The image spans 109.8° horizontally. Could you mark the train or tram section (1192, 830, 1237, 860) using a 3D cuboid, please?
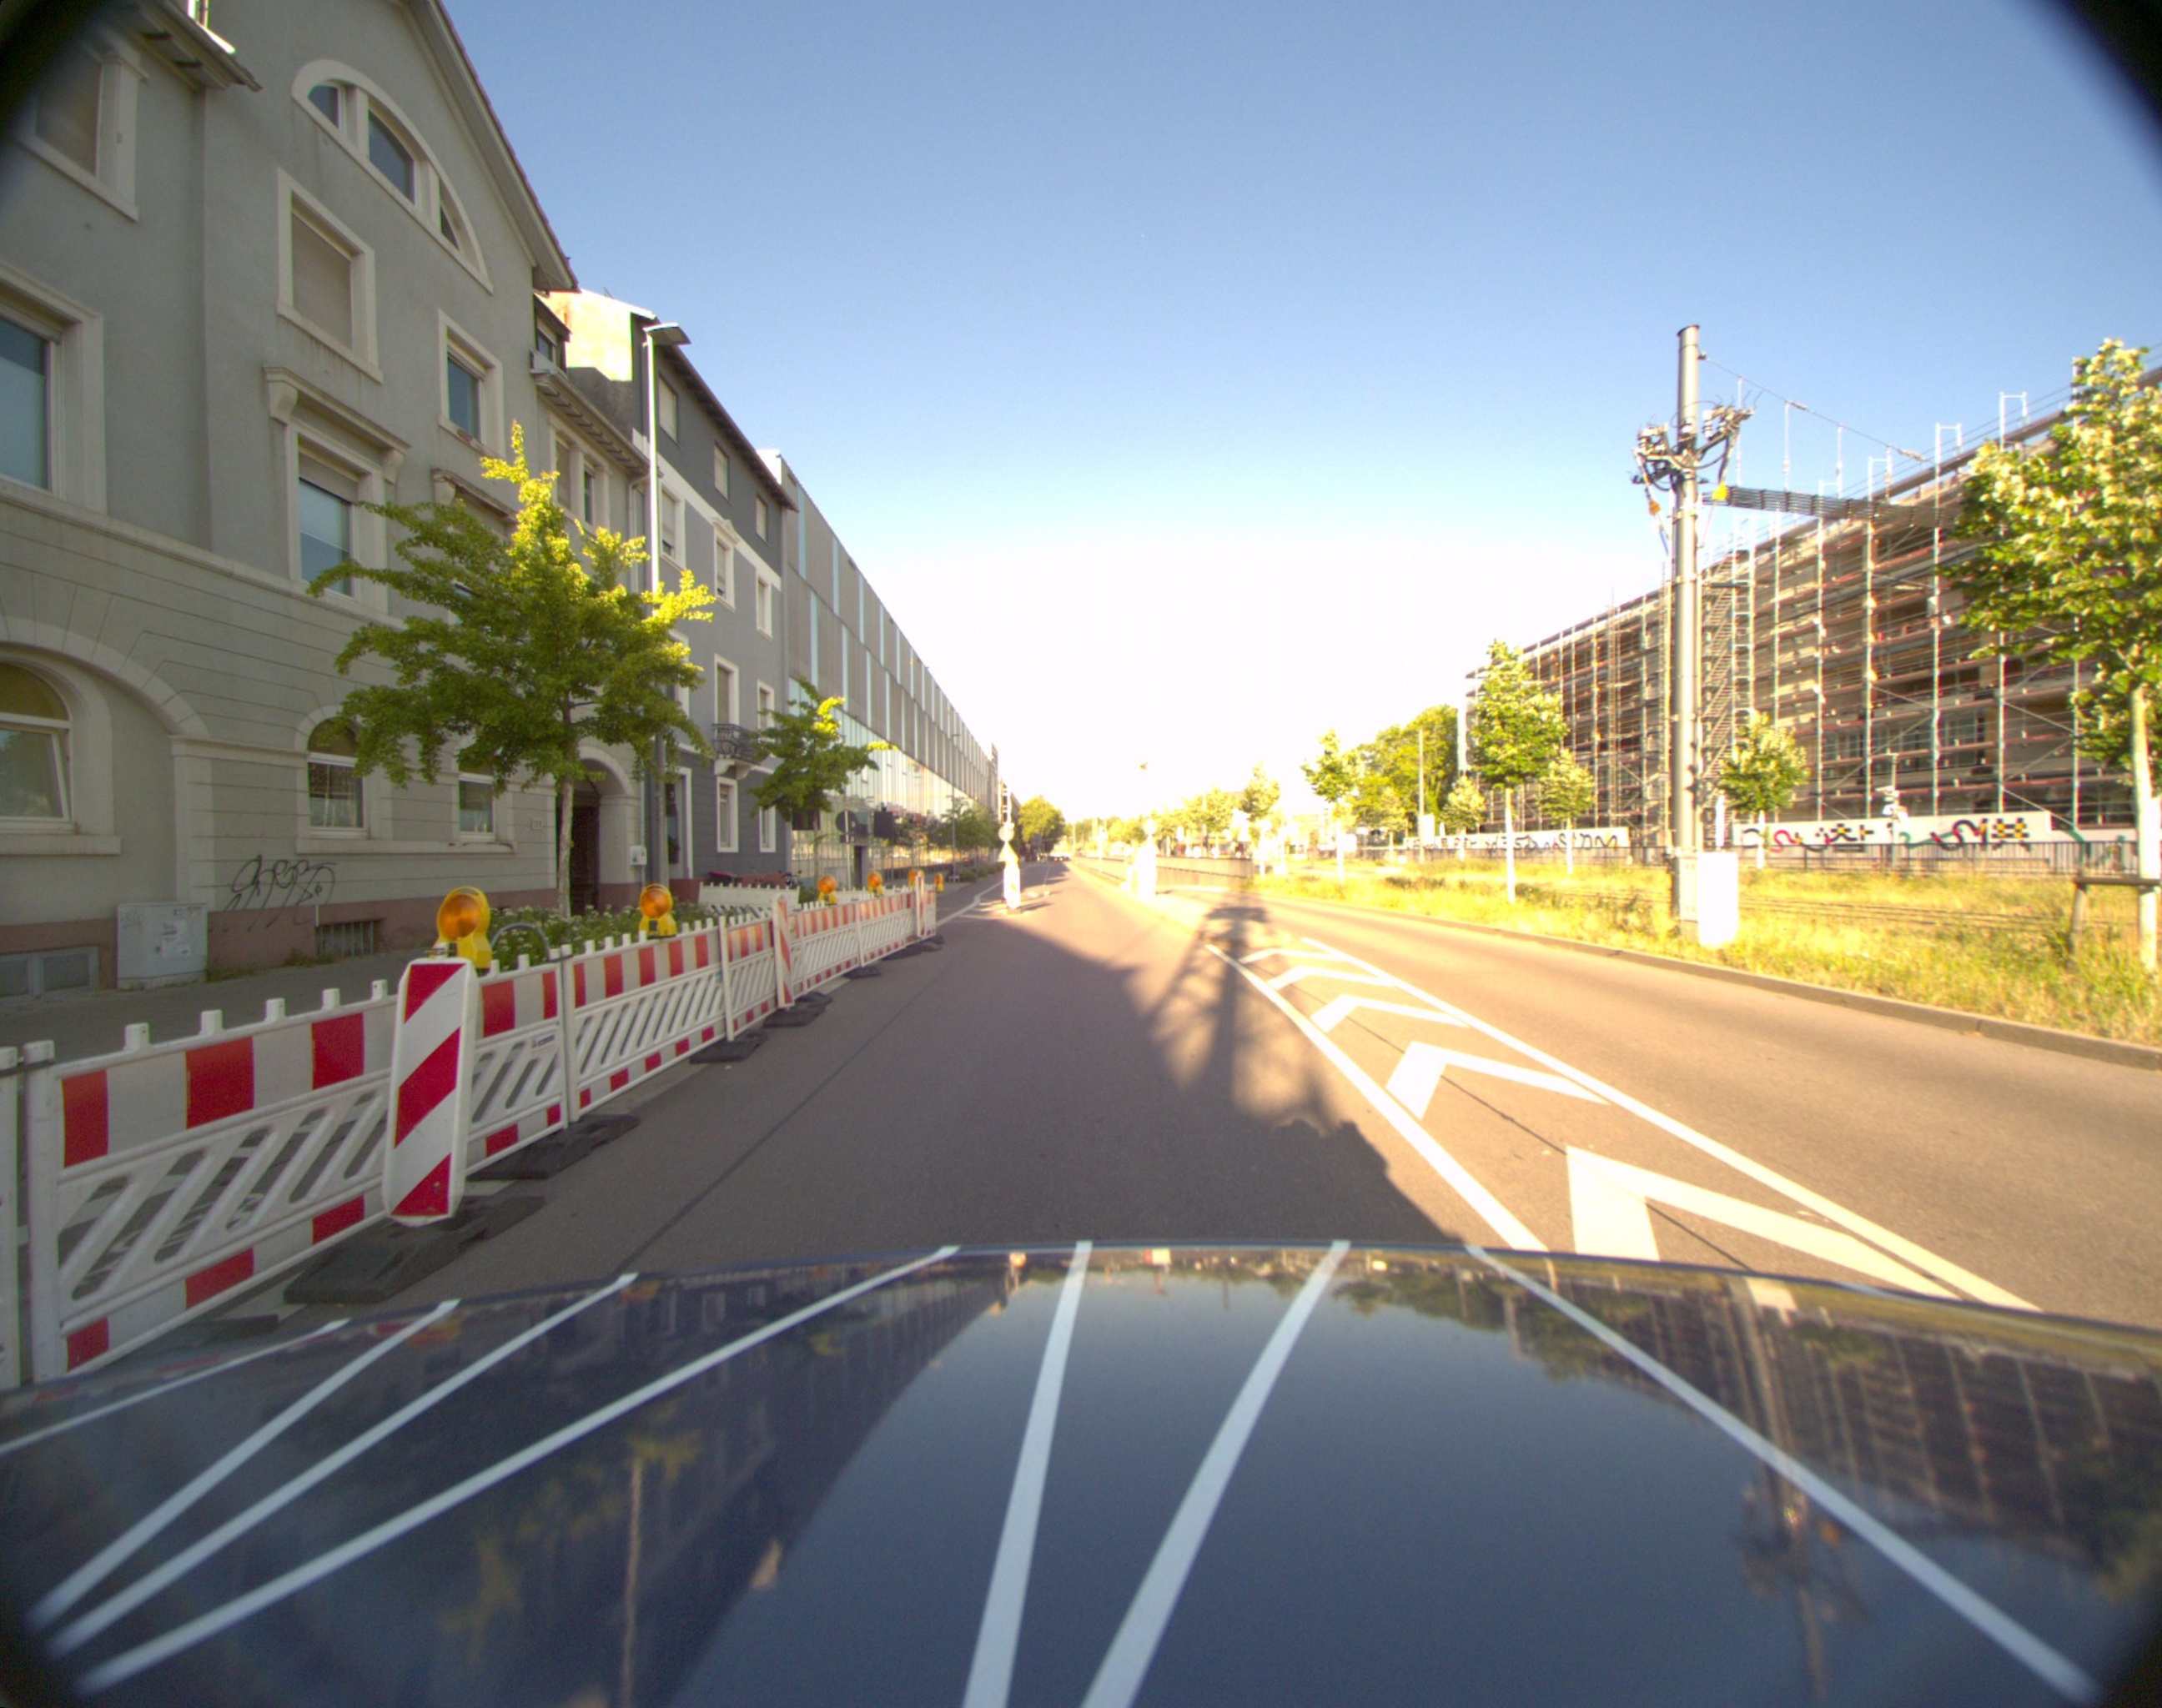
[{"bbox_3d":[16.374,-1.099,94.244,2.954,3.378,12.630,-2,1,-2],"label":"train or tram section"}]

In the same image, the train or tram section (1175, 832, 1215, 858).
[{"bbox_3d":[16.017,-1.251,107.927,2.954,3.378,14.761,-2,1,-2],"label":"train or tram section"}]

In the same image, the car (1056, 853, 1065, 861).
[{"bbox_3d":[-5.074,0.791,187.291,1.941,2.002,3.825,-1,0,-3],"label":"car"}]
